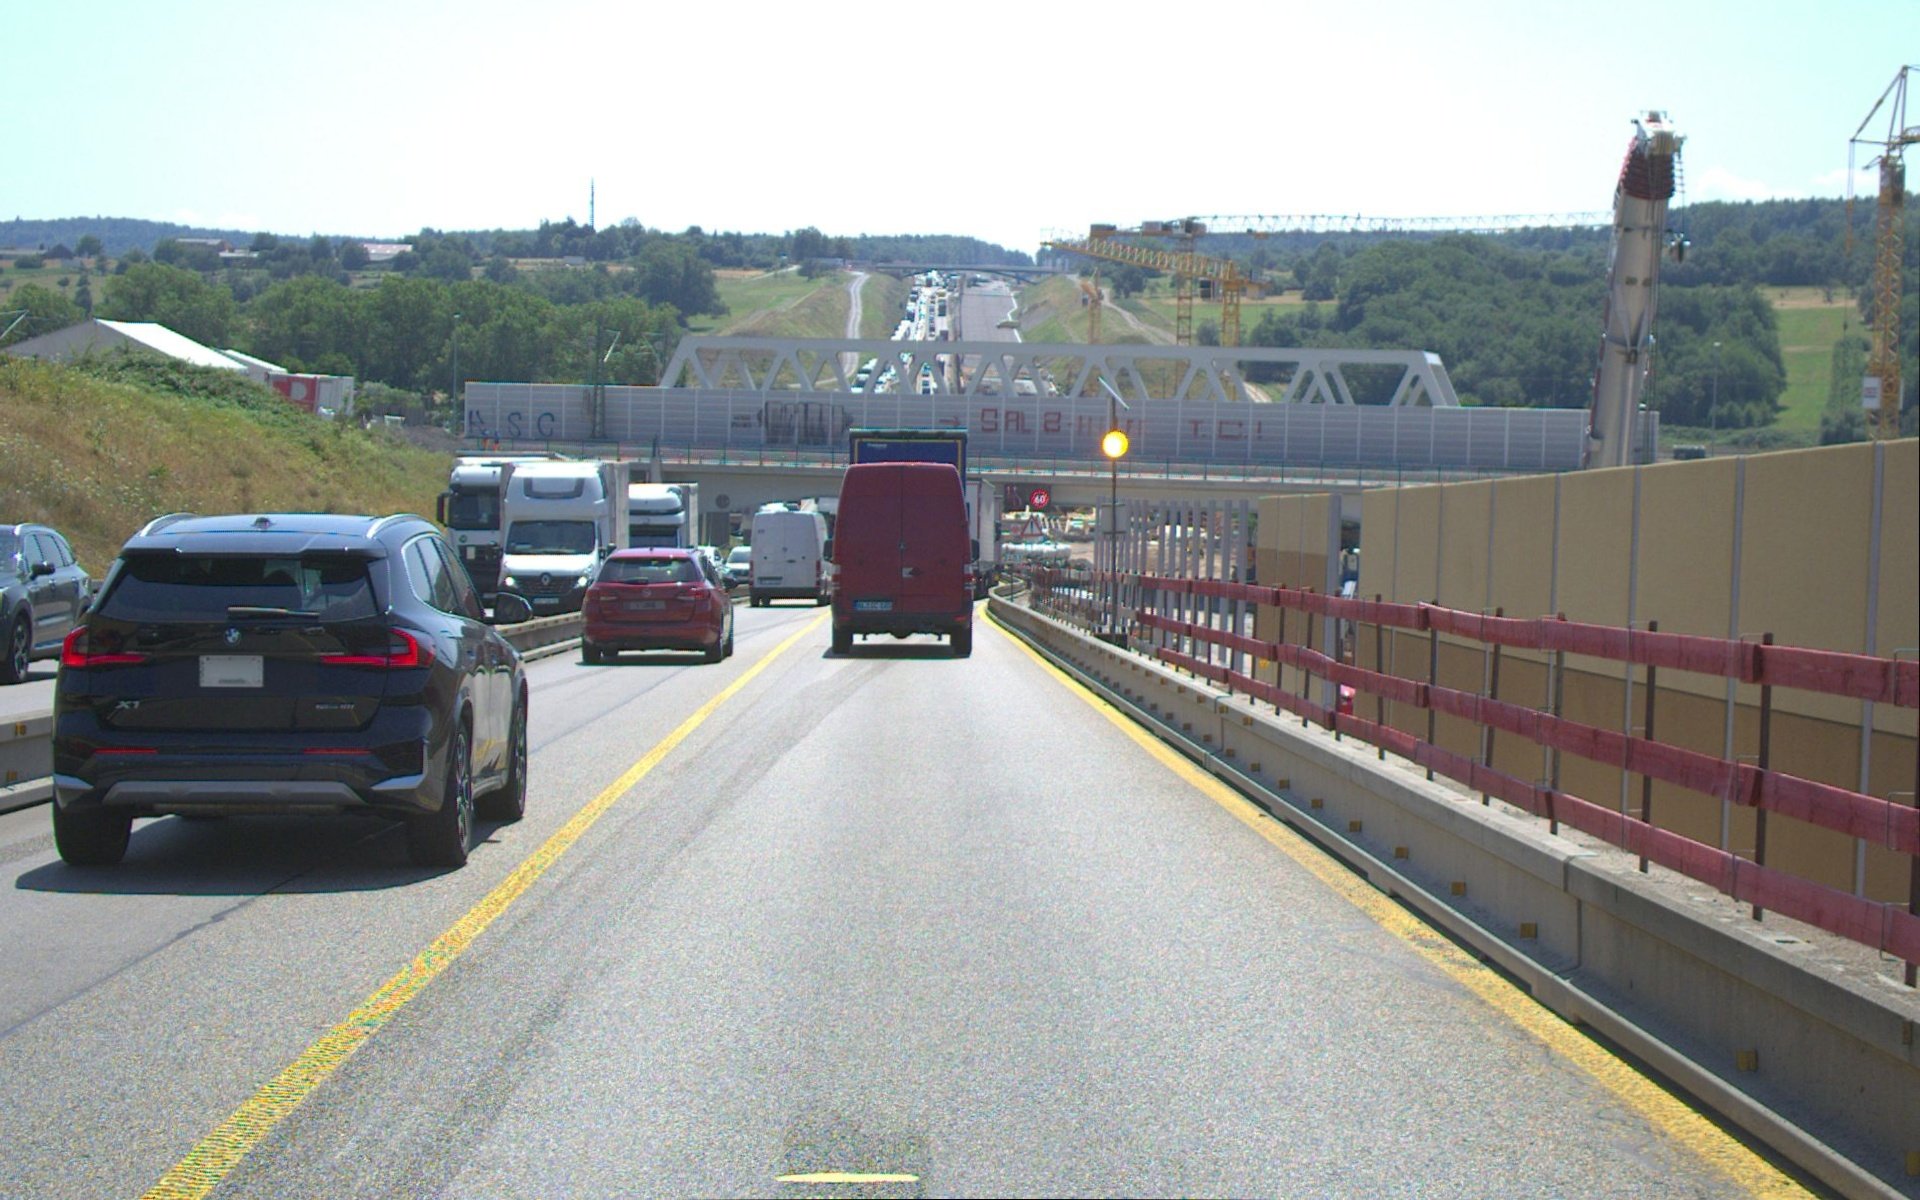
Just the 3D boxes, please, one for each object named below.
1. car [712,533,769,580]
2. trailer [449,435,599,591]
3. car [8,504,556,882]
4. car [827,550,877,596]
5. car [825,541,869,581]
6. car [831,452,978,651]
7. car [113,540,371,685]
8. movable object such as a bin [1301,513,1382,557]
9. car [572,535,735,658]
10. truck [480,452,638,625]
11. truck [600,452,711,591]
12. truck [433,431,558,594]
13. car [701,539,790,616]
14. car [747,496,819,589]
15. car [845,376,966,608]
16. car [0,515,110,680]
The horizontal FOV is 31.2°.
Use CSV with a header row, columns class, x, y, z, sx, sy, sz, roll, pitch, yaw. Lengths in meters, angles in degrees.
class,x,y,z,sx,sy,sz,roll,pitch,yaw
car,-8.703,-1.734,136.509,2.035,1.817,4.960,1,1,-1
trailer,-12.036,-2.381,96.108,2.698,4.011,13.703,1,1,-1
car,-3.162,0.356,16.957,1.879,1.612,4.499,0,1,-1
car,-3.968,-1.002,127.000,1.776,1.664,4.029,0,1,-1
car,-4.773,-1.656,145.156,1.776,1.664,4.029,0,1,-1
car,-0.785,-0.699,48.814,1.988,2.681,4.624,0,1,-1
car,-7.525,0.080,36.474,1.797,1.422,4.950,0,1,-1
movable object such as a bin,24.762,-4.212,223.205,5.147,2.798,2.142,1,1,5
car,-3.933,-0.079,44.683,1.776,1.512,4.206,0,1,-1
truck,-8.203,-1.271,71.056,2.538,3.362,7.038,1,1,-1
truck,-8.576,-2.202,97.511,2.589,3.745,7.359,1,1,-1
truck,-11.897,-2.227,88.324,2.698,4.036,3.955,1,1,-1
car,-4.773,-0.531,76.983,1.839,1.648,4.165,0,1,-1
car,-4.719,-1.555,92.286,1.776,2.433,4.206,0,1,-1
car,-1.271,-2.439,79.830,2.621,5.015,10.397,0,1,-1
car,-10.635,-0.080,37.119,1.854,1.666,4.669,0,1,-1
